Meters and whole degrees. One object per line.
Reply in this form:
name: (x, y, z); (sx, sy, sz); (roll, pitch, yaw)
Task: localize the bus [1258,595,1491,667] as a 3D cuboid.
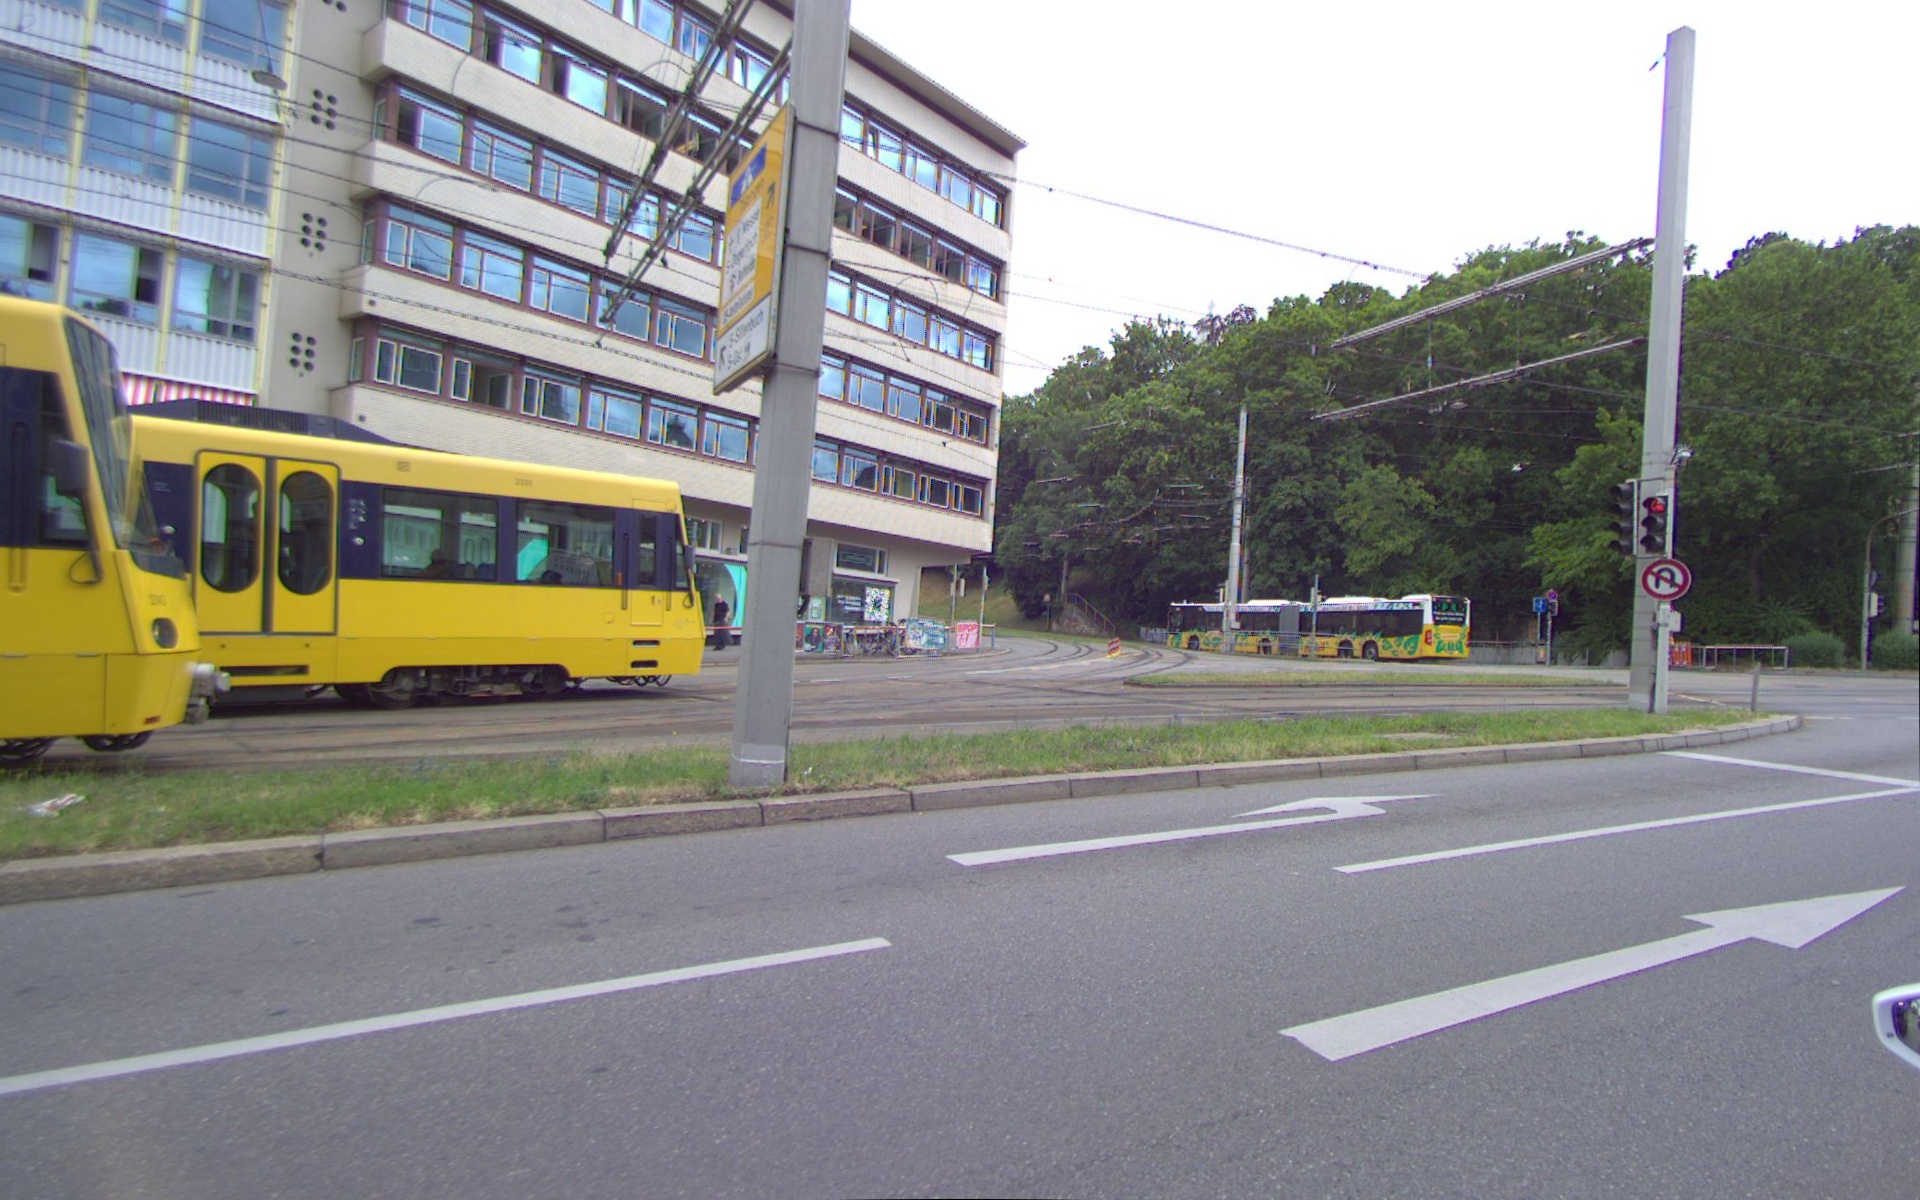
bus: (19.632, 1.489, 48.833); (3.342, 3.069, 11.486); (1, -2, -23)

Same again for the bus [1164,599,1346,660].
bus: (16.220, 1.616, 56.578); (3.279, 3.084, 11.293); (1, -2, -25)

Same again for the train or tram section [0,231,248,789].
train or tram section: (-11.967, -0.797, 4.382); (14.337, 3.712, 2.862); (2, -1, -36)
